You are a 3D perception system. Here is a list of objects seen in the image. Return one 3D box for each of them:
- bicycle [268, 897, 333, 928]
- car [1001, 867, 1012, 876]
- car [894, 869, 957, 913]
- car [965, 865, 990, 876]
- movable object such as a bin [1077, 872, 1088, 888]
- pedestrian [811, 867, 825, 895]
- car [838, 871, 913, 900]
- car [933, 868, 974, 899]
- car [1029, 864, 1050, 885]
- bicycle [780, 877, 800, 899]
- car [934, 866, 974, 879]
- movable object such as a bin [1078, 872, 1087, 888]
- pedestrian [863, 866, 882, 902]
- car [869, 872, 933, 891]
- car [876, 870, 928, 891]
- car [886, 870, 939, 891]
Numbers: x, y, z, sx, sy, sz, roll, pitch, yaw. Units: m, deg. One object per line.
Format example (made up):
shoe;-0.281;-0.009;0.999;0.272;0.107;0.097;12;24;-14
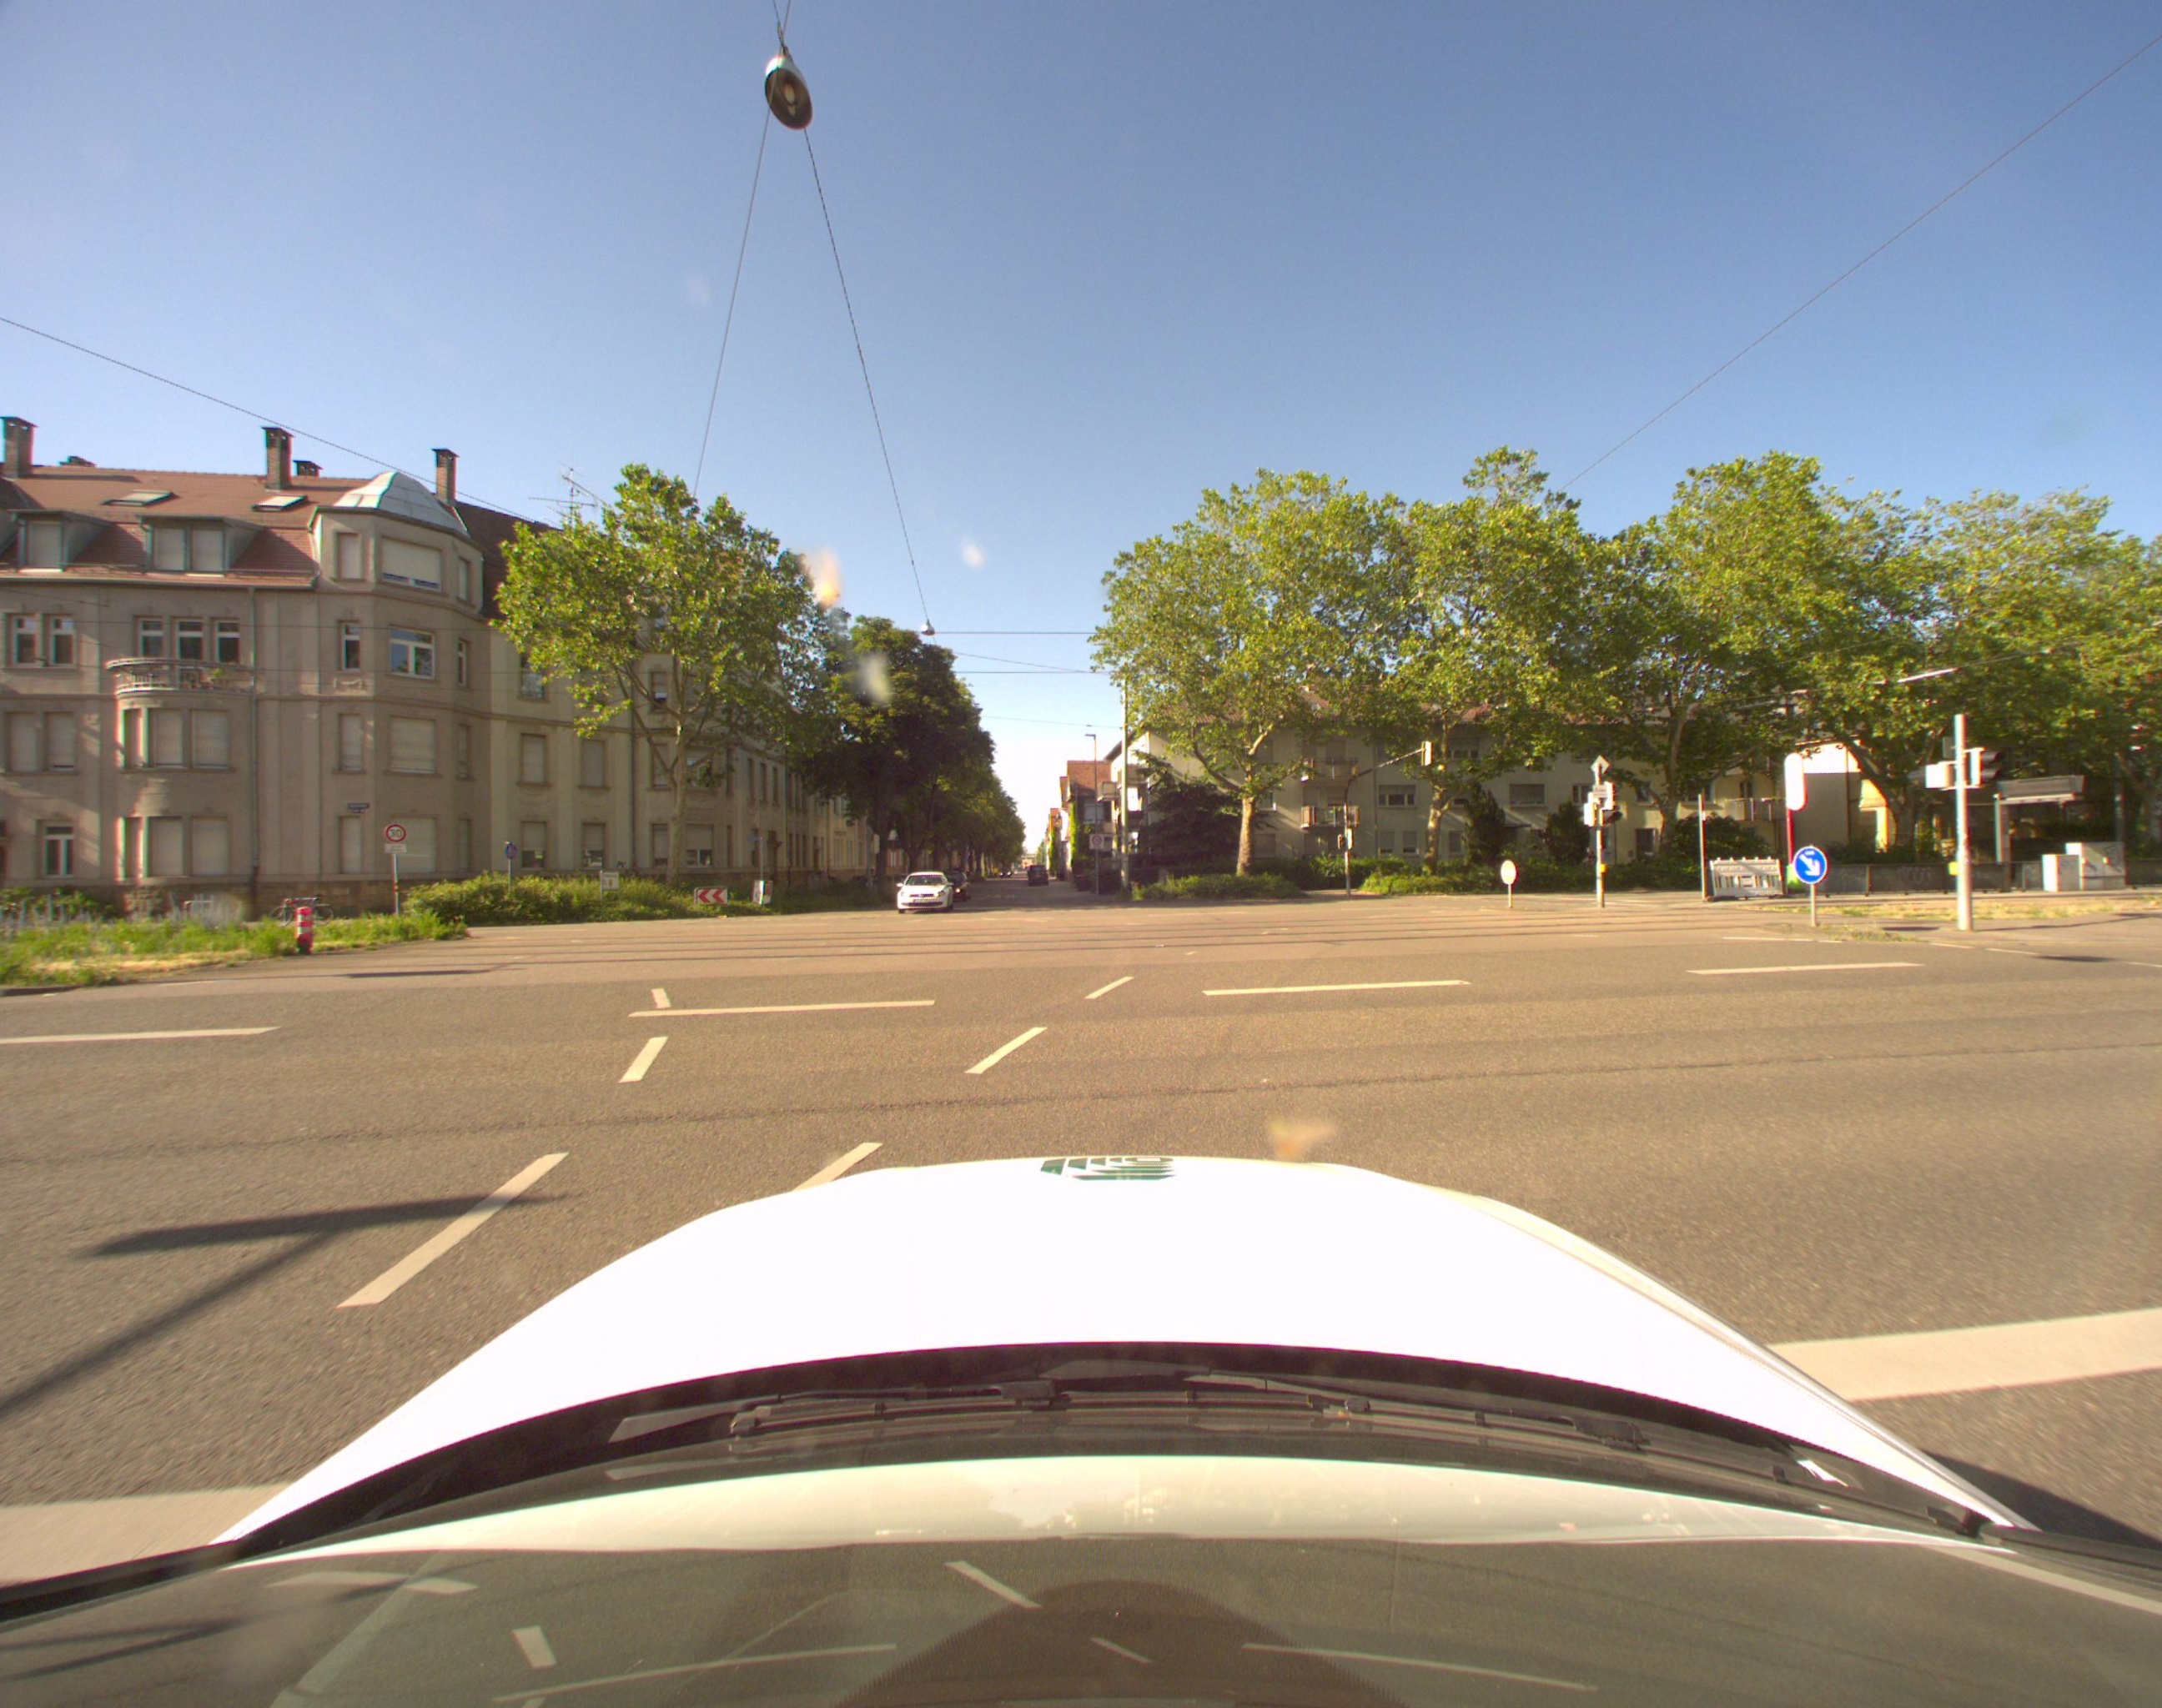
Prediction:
bicycle;-24.485;1.831;25.560;1.433;0.905;0.496;-1;-1;-8
car;-12.322;2.879;135.055;1.638;1.508;3.696;-2;-1;-4
car;-5.601;1.329;29.809;1.803;1.458;3.993;-1;-2;-4
car;-16.882;2.705;133.165;3.984;1.761;1.793;1;-2;-8
movable object such as a bin;0.106;1.712;54.053;0.596;1.044;0.706;-5;-1;-6
pedestrian;-15.916;1.607;49.343;0.458;1.658;0.895;-1;-1;4
car;-11.735;1.800;46.568;3.875;1.476;1.613;-2;-1;-5
car;-6.525;1.503;42.055;1.657;1.464;3.804;-1;-1;-3
car;-3.970;1.876;77.318;1.861;1.916;4.776;1;-1;-3
bicycle;-16.891;1.955;47.289;0.512;1.154;1.980;1;0;-3
car;-15.292;2.213;98.205;4.525;1.503;1.888;0;-1;-5
movable object such as a bin;0.098;1.723;54.911;0.483;1.044;0.655;-5;-1;-6
pedestrian;-10.042;1.425;39.217;0.690;1.682;0.681;-1;-1;7
car;-12.730;1.943;57.803;4.204;1.349;1.700;0;-2;-4
car;-13.163;1.952;59.930;3.424;1.452;1.702;0;-2;-2
car;-13.946;2.191;67.444;3.977;1.508;1.720;-2;-1;-3
